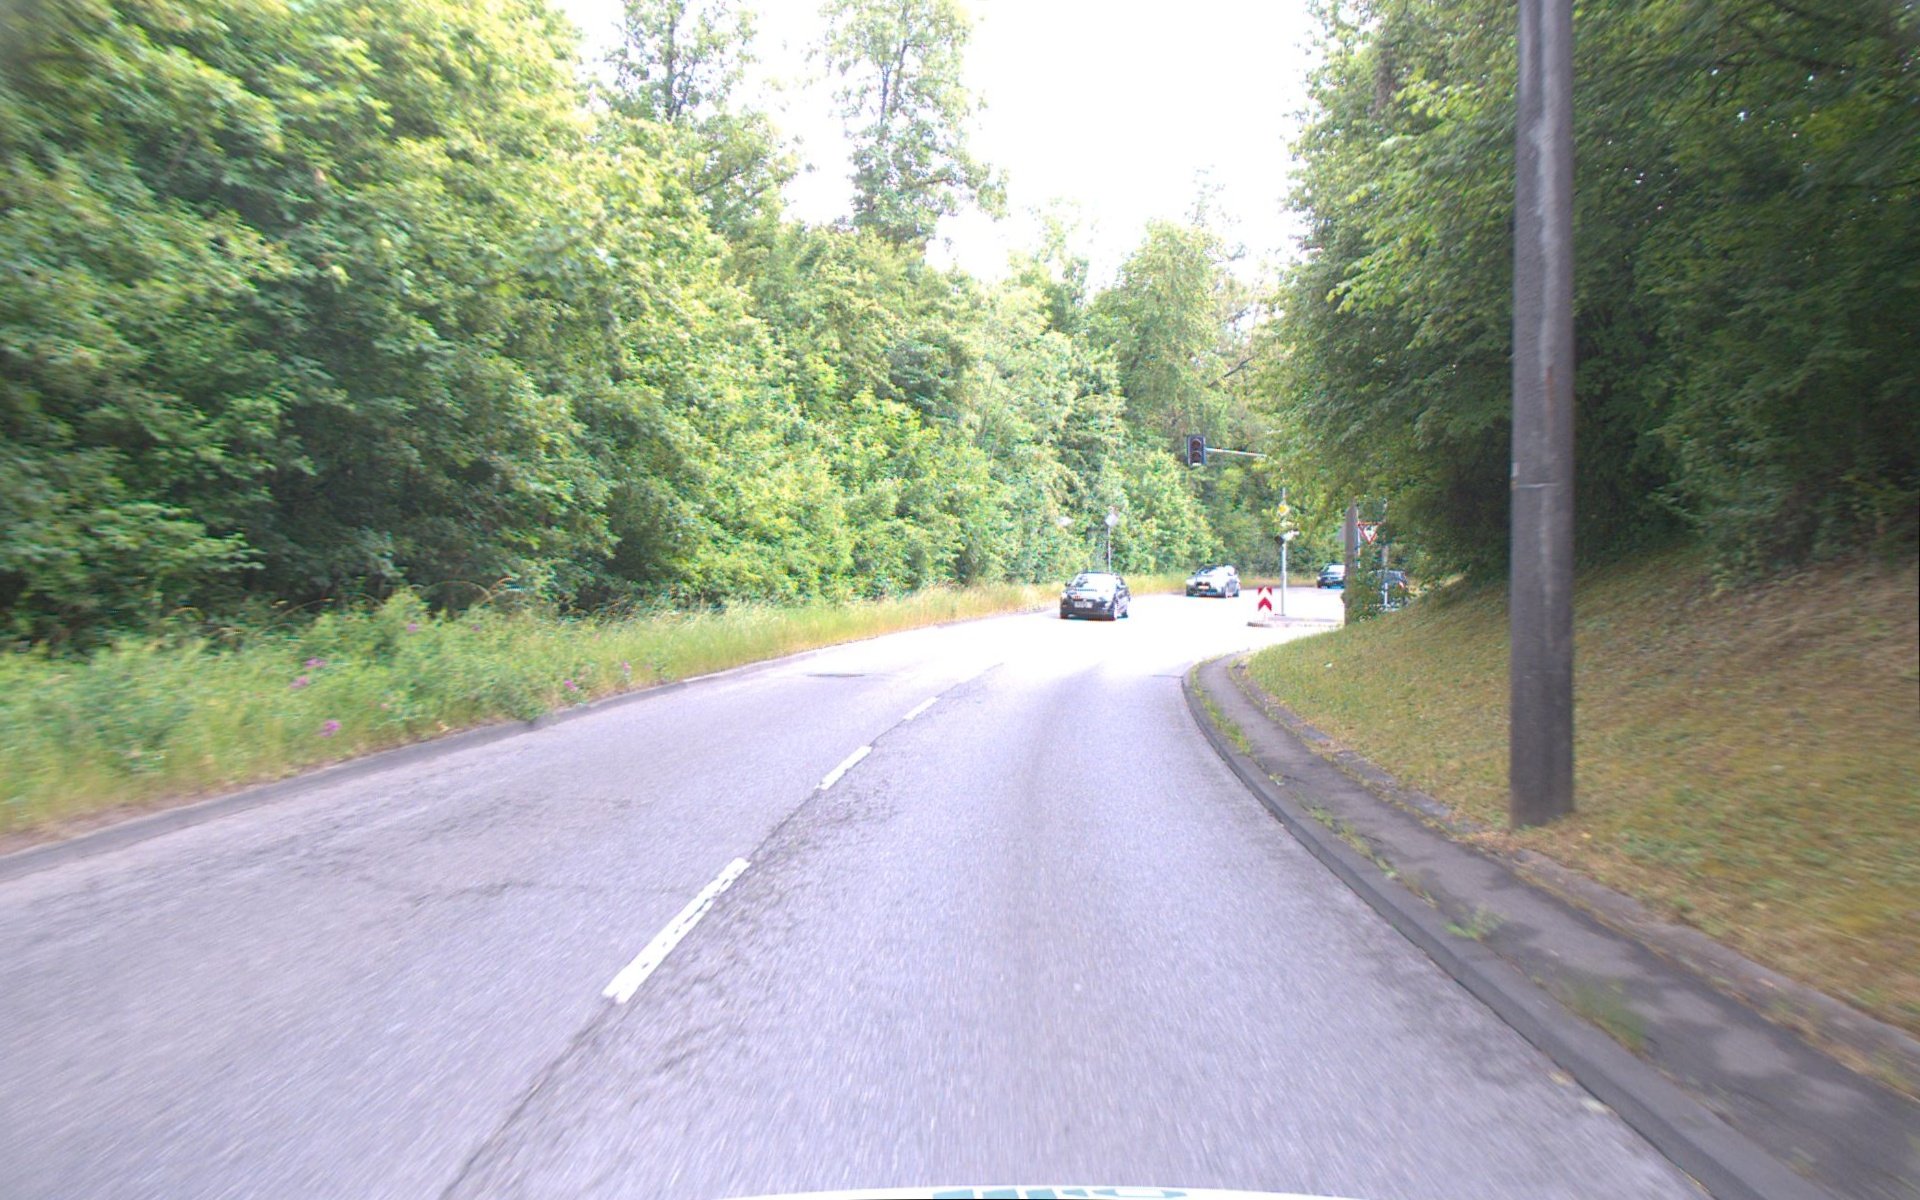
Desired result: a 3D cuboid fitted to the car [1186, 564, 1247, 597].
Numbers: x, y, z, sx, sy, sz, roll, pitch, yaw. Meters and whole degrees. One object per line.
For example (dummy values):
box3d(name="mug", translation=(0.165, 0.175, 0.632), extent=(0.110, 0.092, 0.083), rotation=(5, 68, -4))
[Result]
box3d(name="car", translation=(11.939, -0.917, 76.843), extent=(1.859, 1.377, 4.844), rotation=(4, 2, 20))

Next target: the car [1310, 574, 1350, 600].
box3d(name="car", translation=(23.559, -0.839, 105.279), extent=(1.752, 1.541, 4.843), rotation=(3, 2, 21))

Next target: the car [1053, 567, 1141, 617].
box3d(name="car", translation=(4.417, -0.257, 52.567), extent=(1.765, 1.459, 4.662), rotation=(3, 1, 17))
